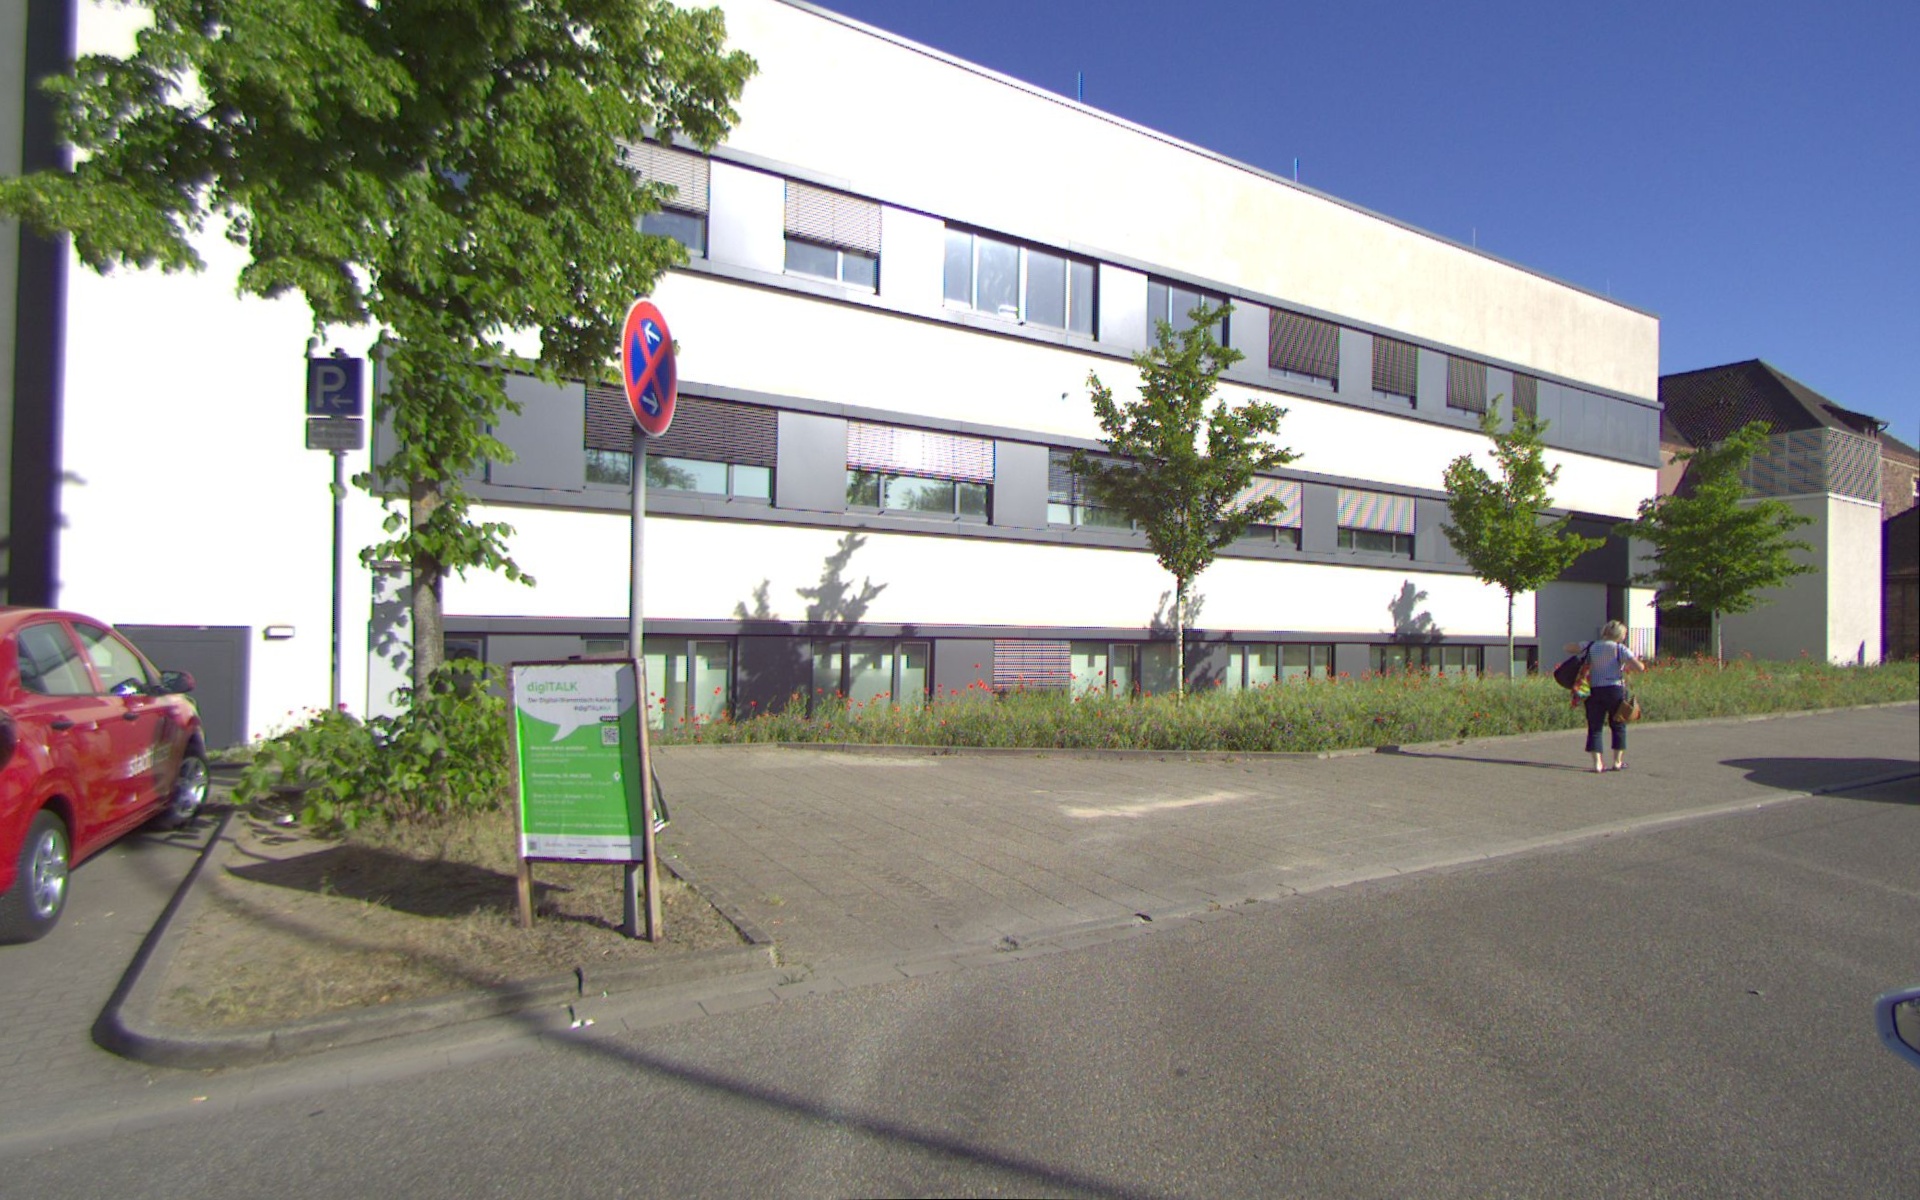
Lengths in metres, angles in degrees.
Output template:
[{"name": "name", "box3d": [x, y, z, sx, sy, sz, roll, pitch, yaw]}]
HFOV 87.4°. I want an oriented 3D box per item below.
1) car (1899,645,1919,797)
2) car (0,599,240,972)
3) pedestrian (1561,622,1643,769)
[{"name": "car", "box3d": [11.592, 1.212, 10.190, 4.482, 1.461, 1.754, 2, -2, -29]}, {"name": "car", "box3d": [-5.323, 0.761, 5.474, 1.592, 1.489, 3.624, 1, 0, -25]}, {"name": "pedestrian", "box3d": [7.018, 1.019, 10.982, 0.600, 1.544, 0.535, 1, -1, -30]}]
